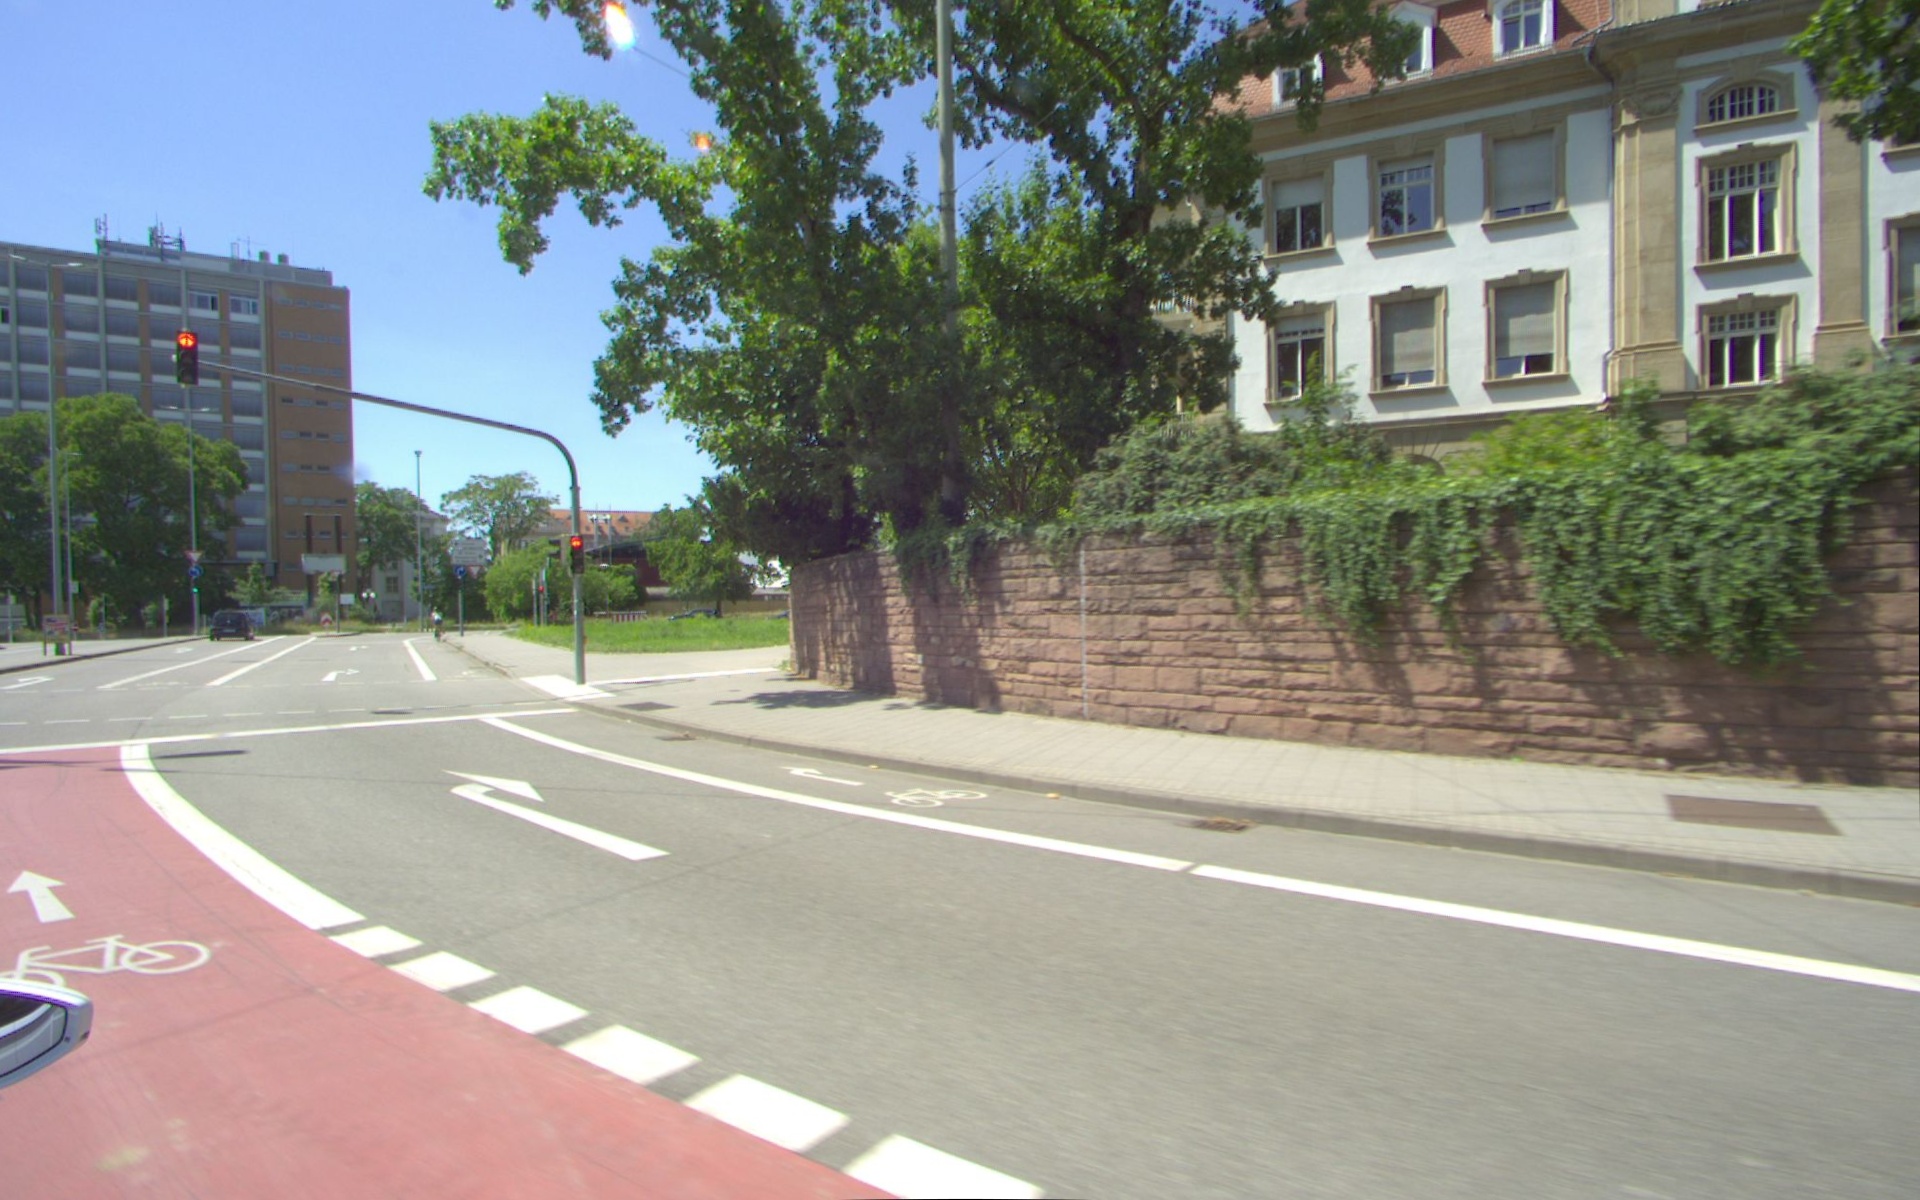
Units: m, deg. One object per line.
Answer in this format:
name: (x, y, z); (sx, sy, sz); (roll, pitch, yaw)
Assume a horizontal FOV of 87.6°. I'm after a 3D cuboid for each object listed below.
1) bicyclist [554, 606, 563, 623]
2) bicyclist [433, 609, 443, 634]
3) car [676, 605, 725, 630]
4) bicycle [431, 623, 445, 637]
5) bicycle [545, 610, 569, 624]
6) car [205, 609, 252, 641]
bicyclist: (-36.114, 1.311, 89.990); (0.675, 1.508, 0.782); (-1, 0, -20)
bicyclist: (-26.481, 1.099, 50.780); (0.348, 1.244, 0.559); (-2, 1, -38)
car: (-22.871, 1.531, 88.282); (3.940, 2.040, 1.463); (-1, -1, -28)
bicycle: (-26.466, 1.529, 50.768); (0.373, 0.655, 1.632); (-1, 0, -37)
bicycle: (-36.194, 1.540, 89.926); (1.978, 1.150, 0.573); (-1, 0, -19)
car: (-37.264, 1.243, 51.000); (1.675, 1.547, 3.659); (-1, 0, -40)
